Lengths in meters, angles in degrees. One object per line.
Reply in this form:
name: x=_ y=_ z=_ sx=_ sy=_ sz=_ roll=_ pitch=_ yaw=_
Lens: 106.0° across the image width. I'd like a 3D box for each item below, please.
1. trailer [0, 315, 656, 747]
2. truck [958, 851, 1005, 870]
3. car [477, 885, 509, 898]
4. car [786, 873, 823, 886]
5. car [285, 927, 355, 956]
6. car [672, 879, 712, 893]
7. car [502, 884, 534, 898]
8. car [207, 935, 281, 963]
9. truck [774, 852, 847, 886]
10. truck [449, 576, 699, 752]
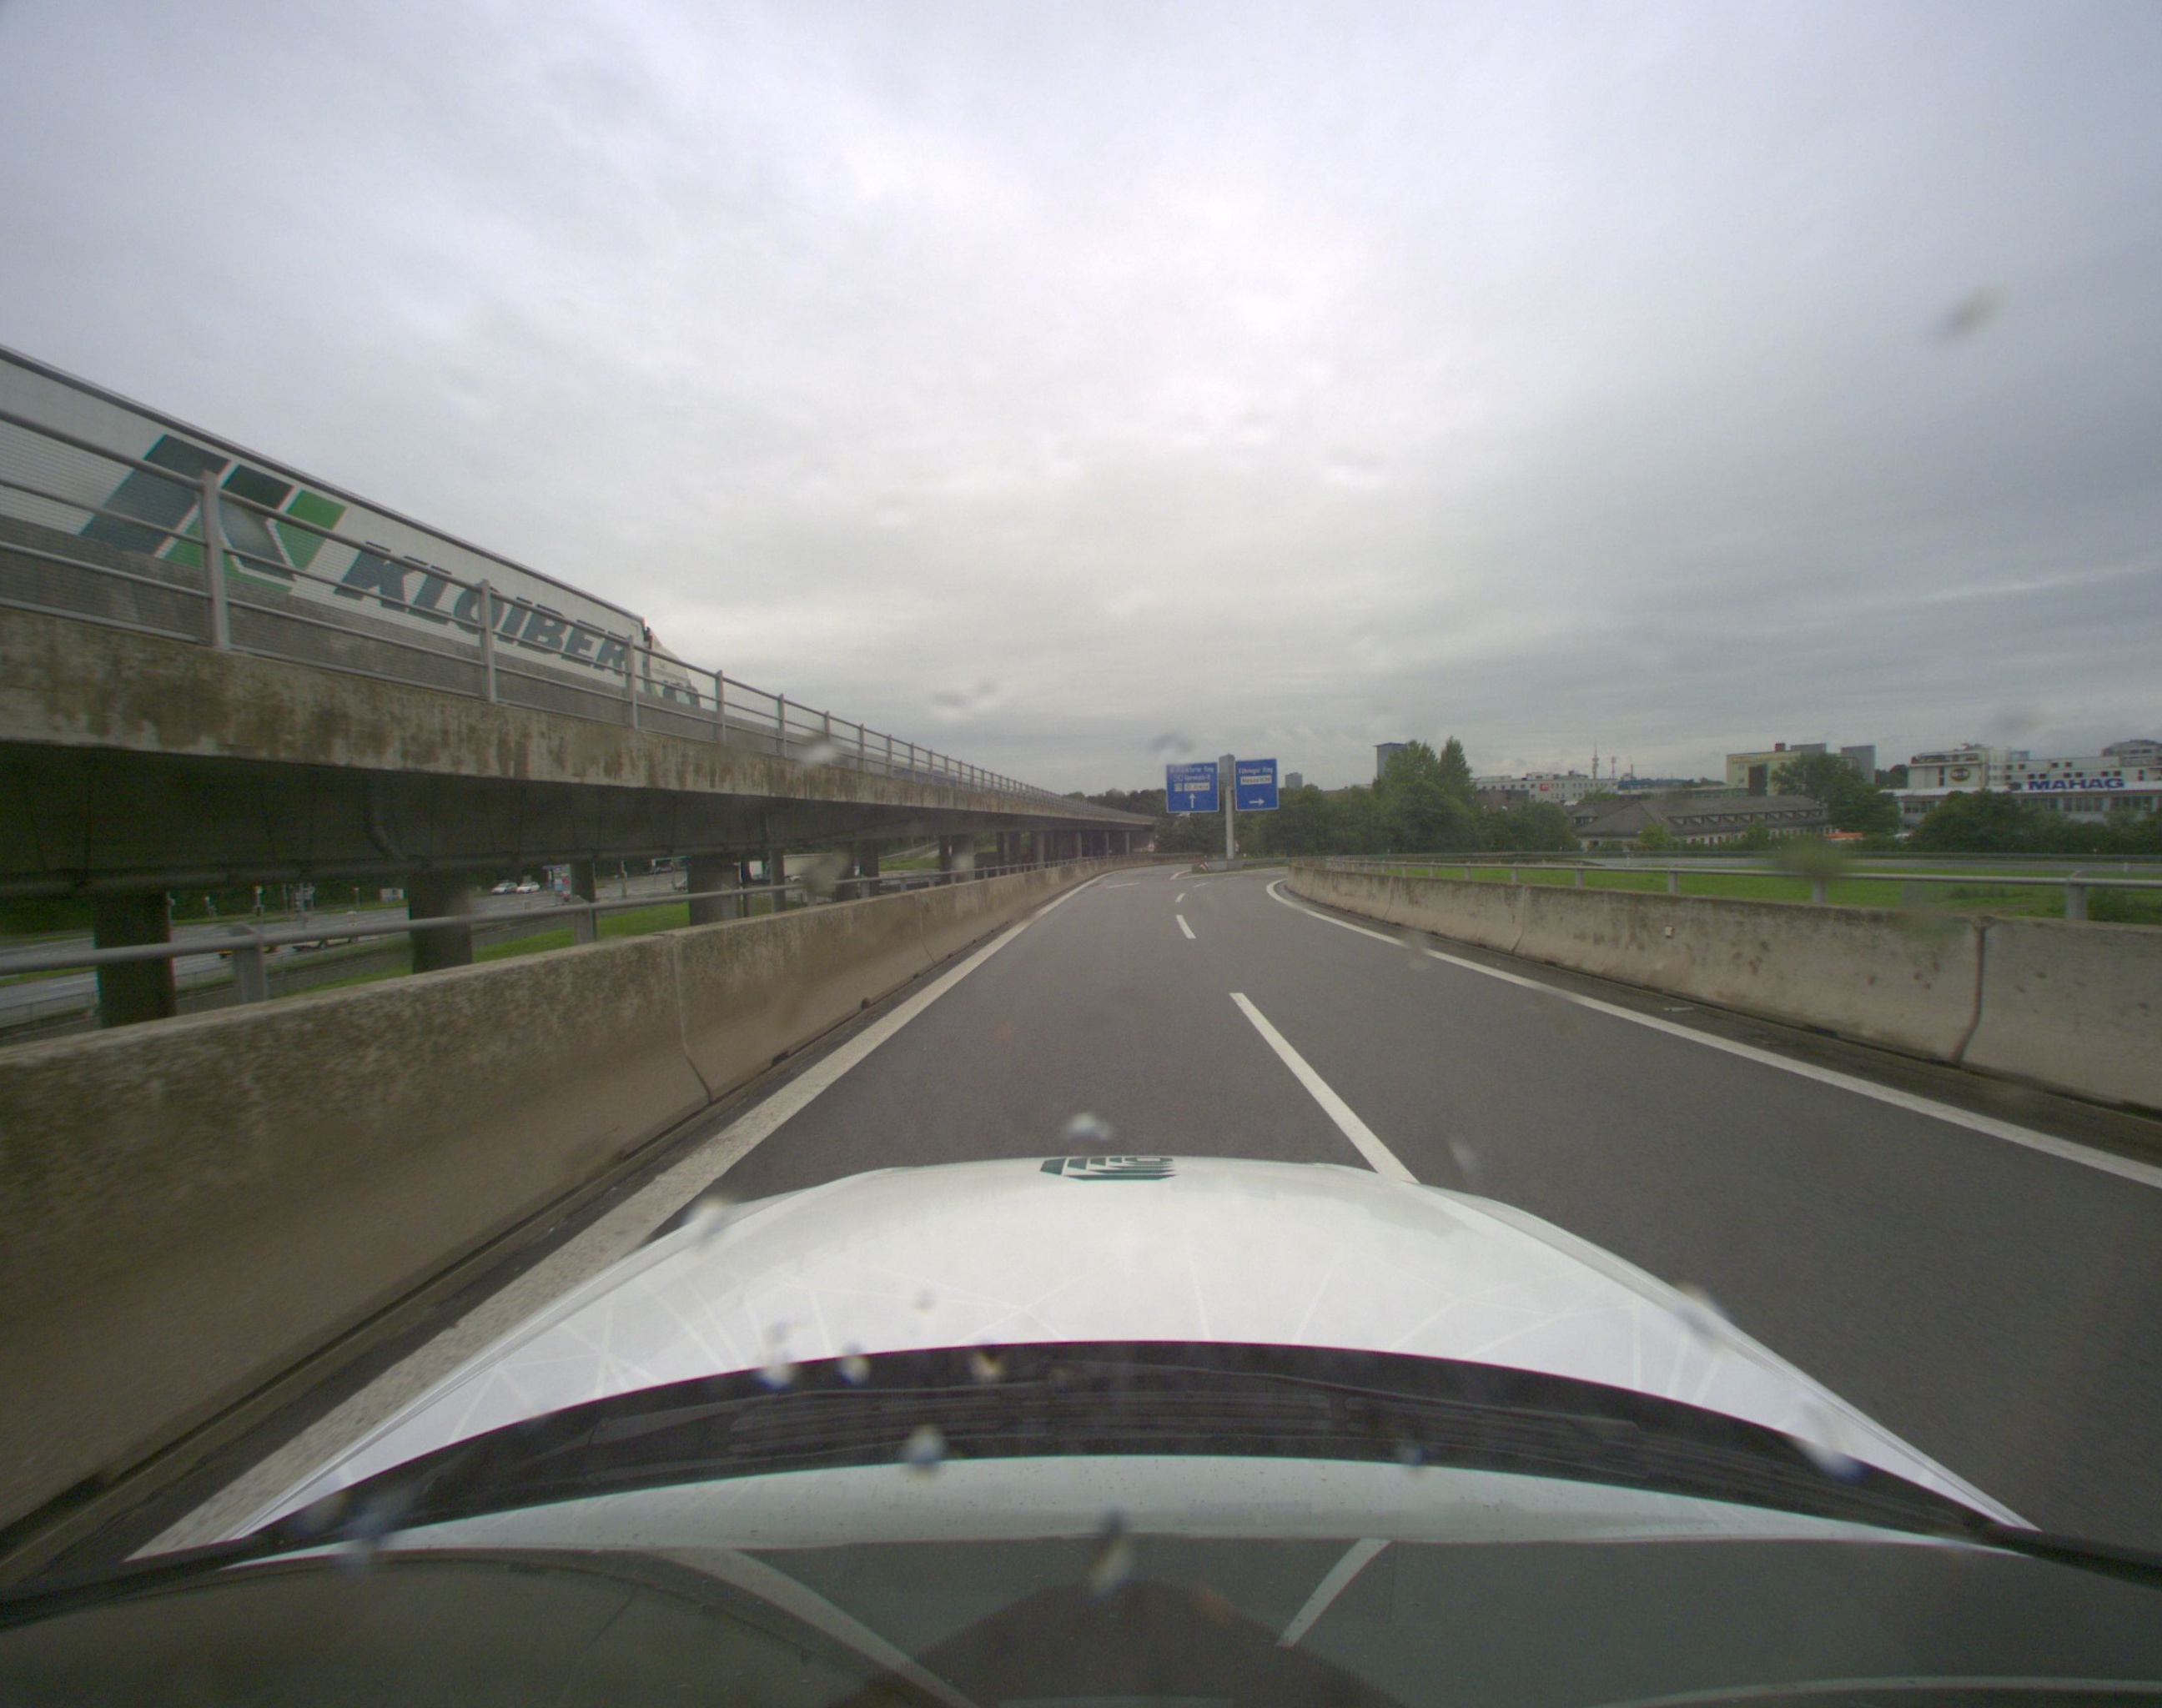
trailer: x=-12.248 y=-4.084 z=13.281 sx=2.647 sy=3.297 sz=14.073 roll=0 pitch=2 yaw=3
truck: x=-16.246 y=1.023 z=133.455 sx=7.255 sy=2.977 sz=2.238 roll=-1 pitch=-1 yaw=-30
car: x=-85.147 y=5.376 z=117.982 sx=1.787 sy=1.562 sz=3.998 roll=-3 pitch=1 yaw=-1
car: x=-39.528 y=3.633 z=116.482 sx=4.608 sy=1.583 sz=1.955 roll=-2 pitch=0 yaw=-32
car: x=-62.236 y=7.138 z=66.679 sx=1.800 sy=1.749 sz=4.361 roll=1 pitch=2 yaw=-4
car: x=-51.962 y=4.237 z=108.897 sx=4.608 sy=1.606 sz=1.955 roll=-2 pitch=0 yaw=-33
car: x=-81.311 y=5.287 z=117.677 sx=1.787 sy=1.705 sz=3.998 roll=-3 pitch=1 yaw=-1
car: x=-65.607 y=7.420 z=63.929 sx=1.839 sy=1.617 sz=3.996 roll=1 pitch=2 yaw=-4
truck: x=-39.742 y=2.199 z=119.817 sx=9.632 sy=4.591 sz=2.772 roll=-2 pitch=0 yaw=-31
truck: x=-11.960 y=-4.342 z=19.856 sx=2.578 sy=3.245 sz=5.199 roll=0 pitch=2 yaw=3
